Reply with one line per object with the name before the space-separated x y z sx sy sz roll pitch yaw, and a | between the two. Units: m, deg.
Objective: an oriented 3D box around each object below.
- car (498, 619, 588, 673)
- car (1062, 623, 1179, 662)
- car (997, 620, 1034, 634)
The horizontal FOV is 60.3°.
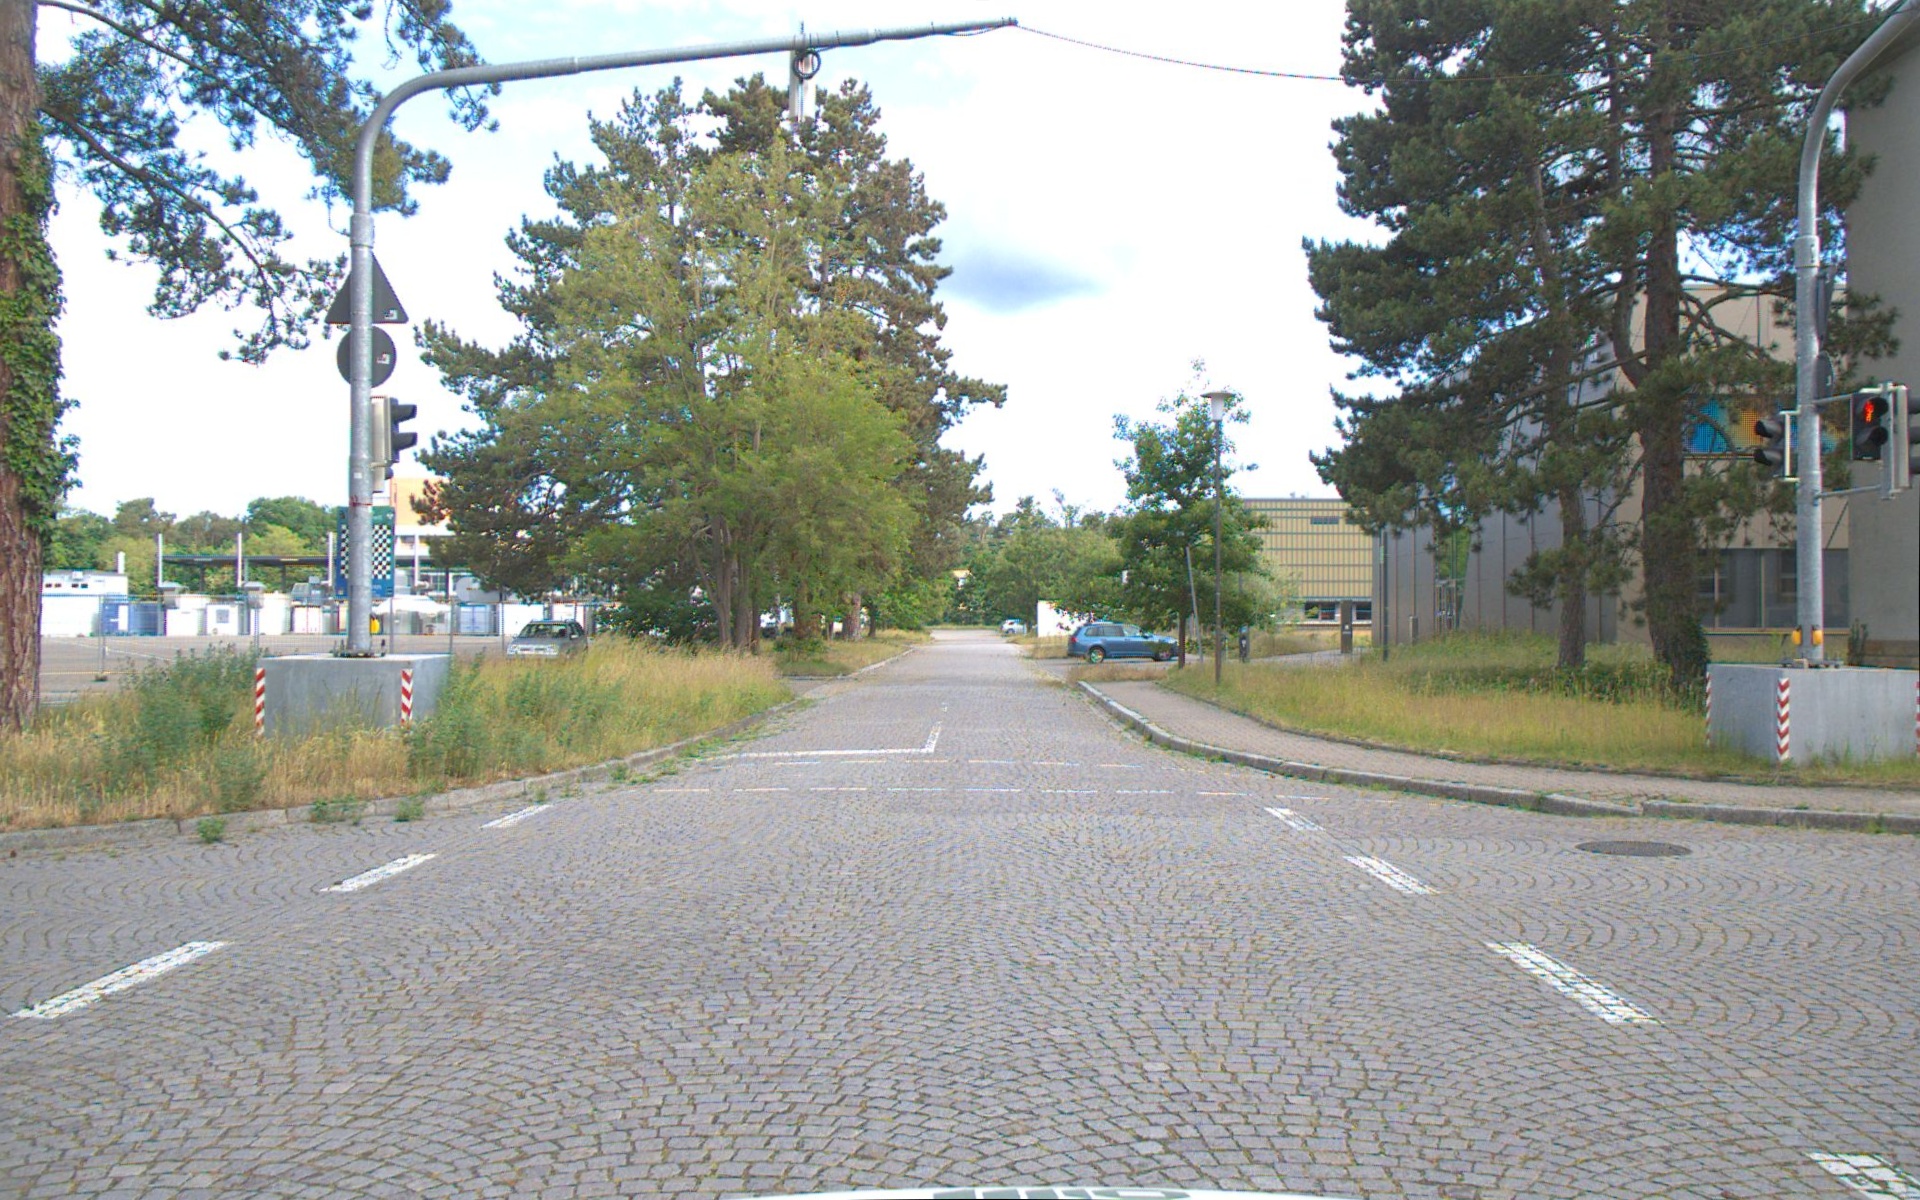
car | -12.186 1.326 48.571 1.580 1.513 4.000 0 -1 0
car | 6.119 1.603 63.337 4.256 1.447 1.999 0 -1 -2
car | 6.037 2.953 180.400 3.909 1.422 1.998 0 -1 -6
